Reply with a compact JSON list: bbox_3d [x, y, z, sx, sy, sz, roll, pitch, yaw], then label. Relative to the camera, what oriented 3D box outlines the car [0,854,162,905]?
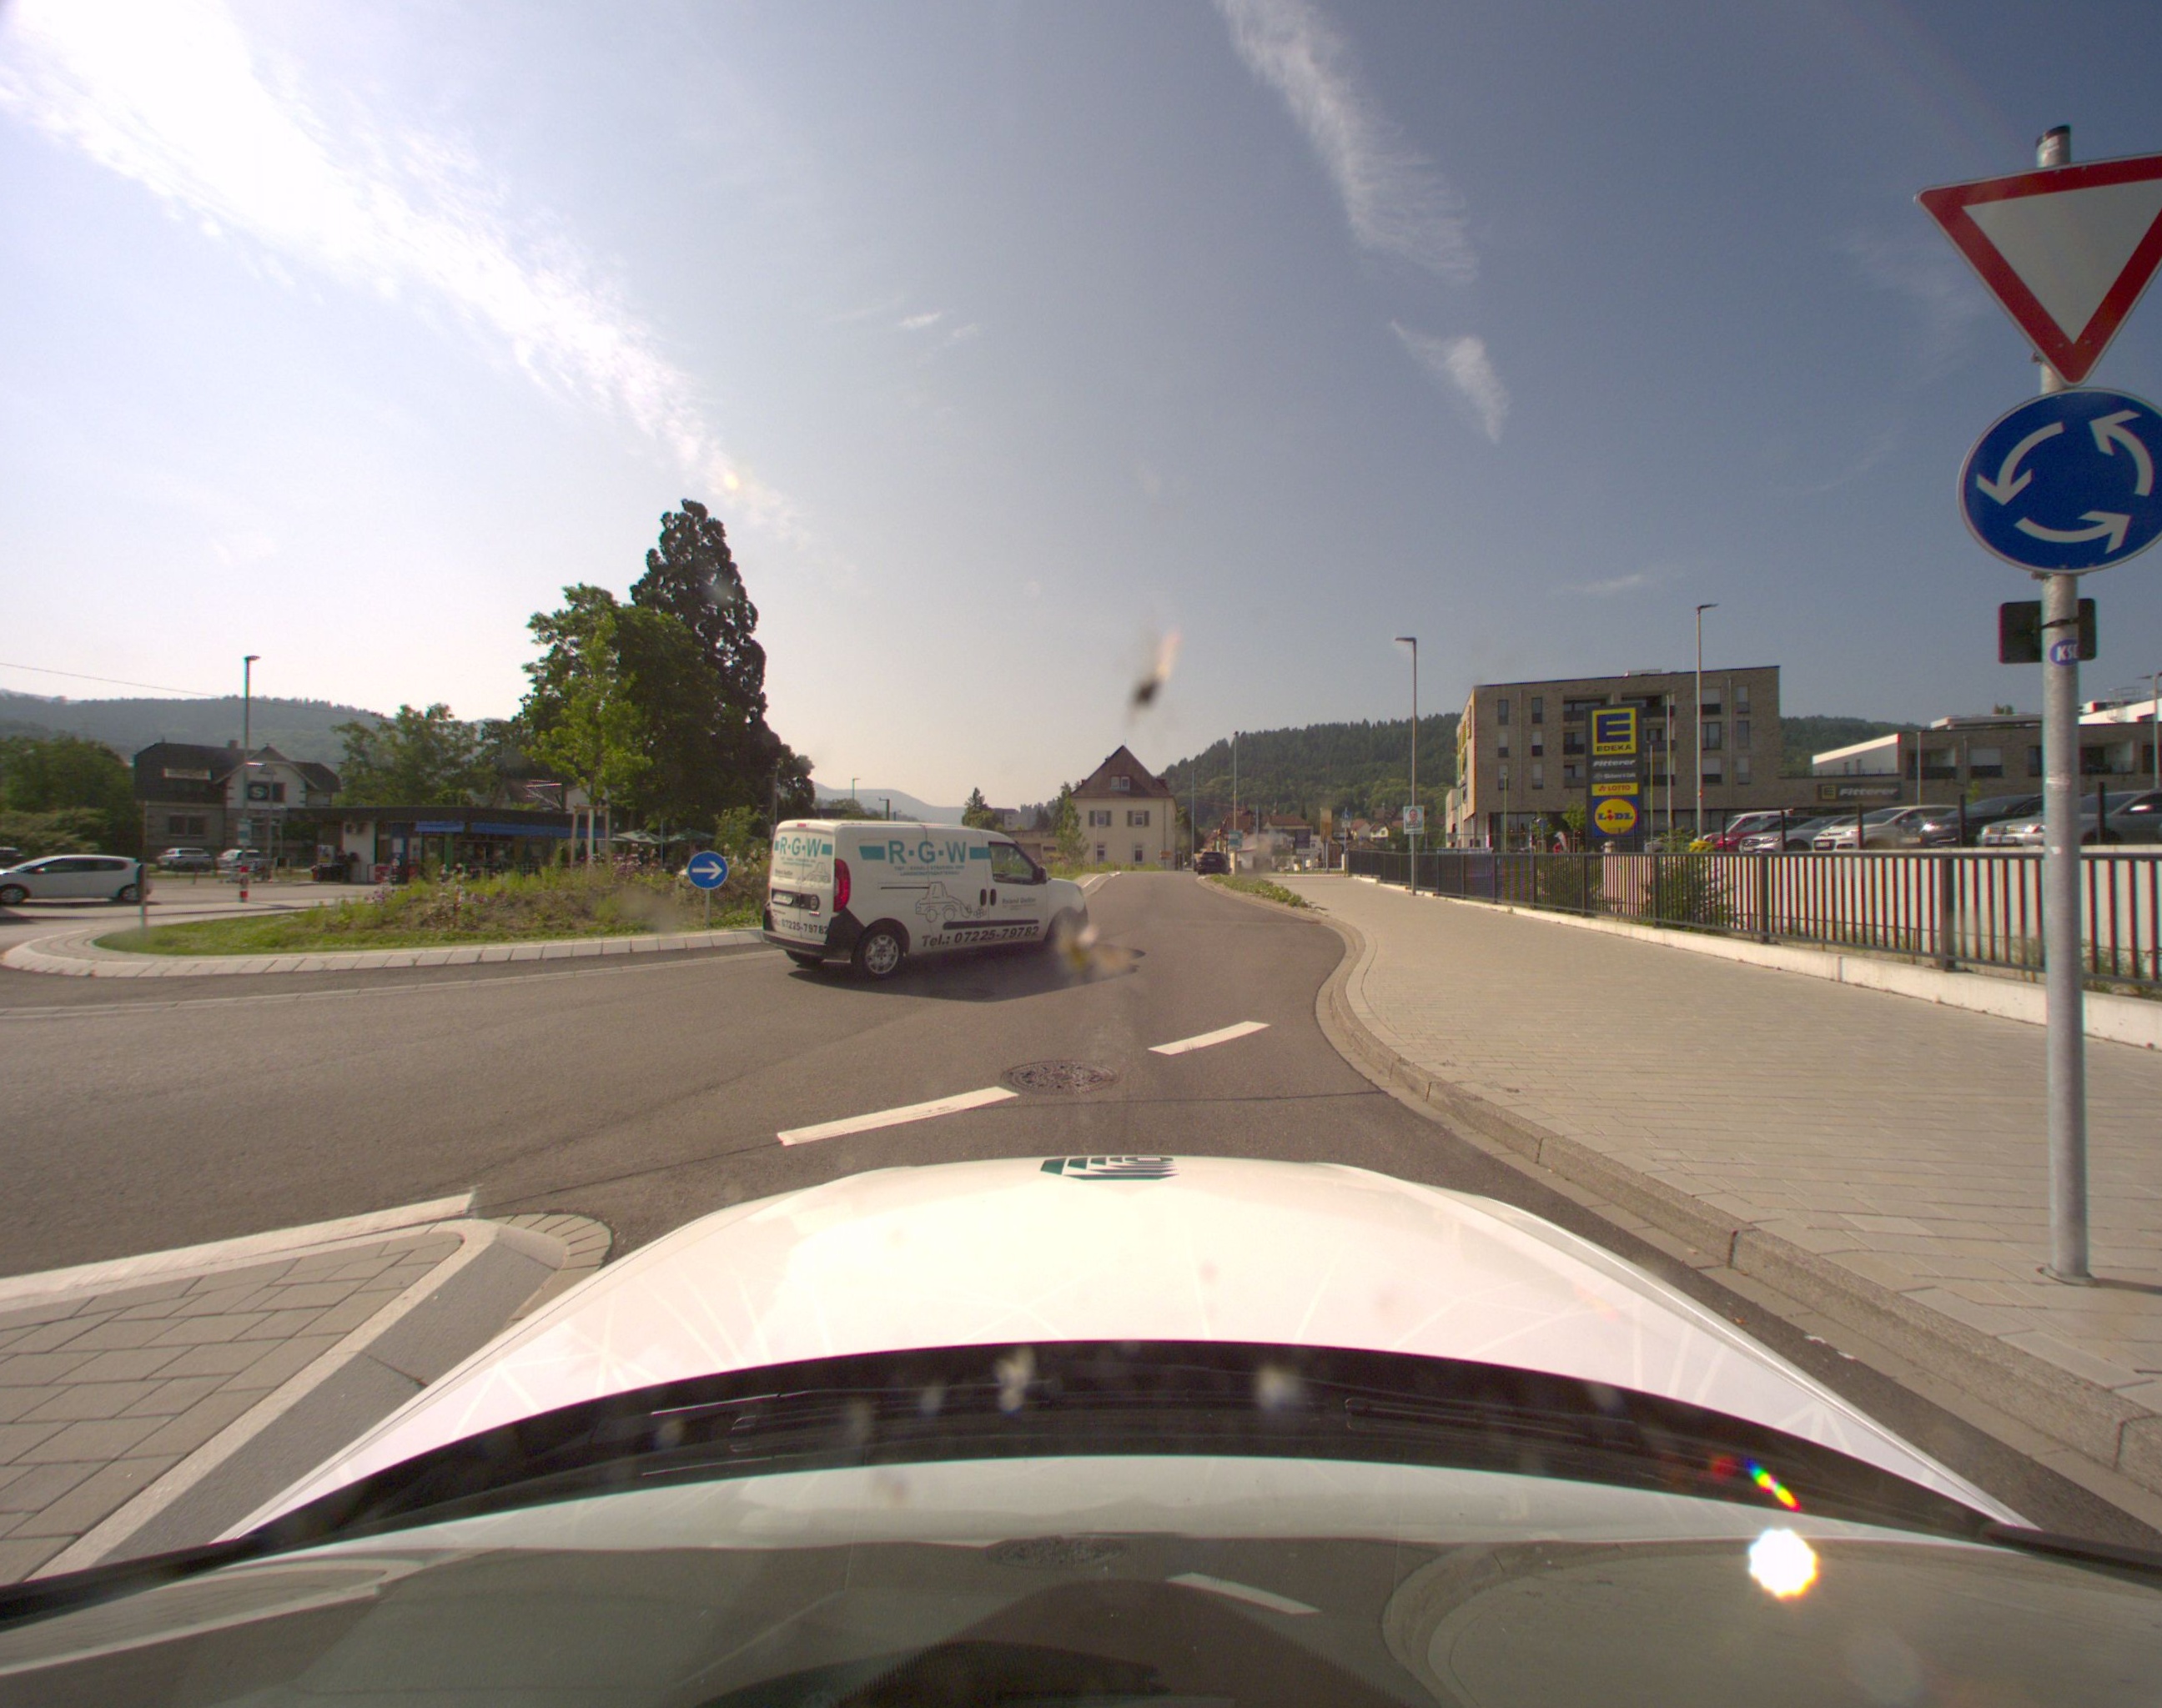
[{"bbox_3d":[-31.055,0.791,24.933,1.375,1.450,3.558,0,-2,27],"label":"car"}]

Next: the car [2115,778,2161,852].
[{"bbox_3d":[19.938,-0.649,13.151,3.945,1.245,1.733,0,0,7],"label":"car"}]

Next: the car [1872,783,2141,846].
[{"bbox_3d":[21.175,-0.867,18.795,4.014,1.342,1.664,0,0,8],"label":"car"}]

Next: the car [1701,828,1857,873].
[{"bbox_3d":[22.749,-0.106,26.665,3.536,1.430,1.714,0,0,8],"label":"car"}]

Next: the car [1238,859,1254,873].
[{"bbox_3d":[24.420,1.749,120.627,1.984,2.014,4.005,-1,-1,5],"label":"car"}]

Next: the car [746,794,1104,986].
[{"bbox_3d":[-1.870,0.287,11.084,1.789,2.077,4.633,2,3,42],"label":"car"}]

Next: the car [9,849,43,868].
[{"bbox_3d":[-76.466,0.330,59.019,3.491,1.364,1.401,0,0,36],"label":"car"}]

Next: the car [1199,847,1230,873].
[{"bbox_3d":[9.134,0.410,55.500,1.868,1.684,4.014,-1,-1,13],"label":"car"}]

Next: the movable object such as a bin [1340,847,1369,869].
[{"bbox_3d":[24.441,0.375,72.837,2.424,1.844,1.434,-1,-1,16],"label":"movable object such as a bin"}]

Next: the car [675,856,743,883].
[{"bbox_3d":[-17.111,0.700,37.601,1.381,1.172,3.250,0,0,7],"label":"car"}]

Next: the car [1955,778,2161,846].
[{"bbox_3d":[20.376,-0.799,16.030,4.255,1.245,1.668,0,0,7],"label":"car"}]

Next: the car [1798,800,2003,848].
[{"bbox_3d":[21.592,-0.770,21.595,3.536,1.199,1.718,0,0,8],"label":"car"}]

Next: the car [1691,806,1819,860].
[{"bbox_3d":[29.325,-0.862,35.603,3.949,2.136,2.012,-1,-2,29],"label":"car"}]

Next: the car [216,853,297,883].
[{"bbox_3d":[-38.093,0.640,37.609,3.552,1.326,1.424,0,0,24],"label":"car"}]

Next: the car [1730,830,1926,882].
[{"bbox_3d":[22.144,0.059,24.306,4.031,1.487,1.721,0,0,10],"label":"car"}]
